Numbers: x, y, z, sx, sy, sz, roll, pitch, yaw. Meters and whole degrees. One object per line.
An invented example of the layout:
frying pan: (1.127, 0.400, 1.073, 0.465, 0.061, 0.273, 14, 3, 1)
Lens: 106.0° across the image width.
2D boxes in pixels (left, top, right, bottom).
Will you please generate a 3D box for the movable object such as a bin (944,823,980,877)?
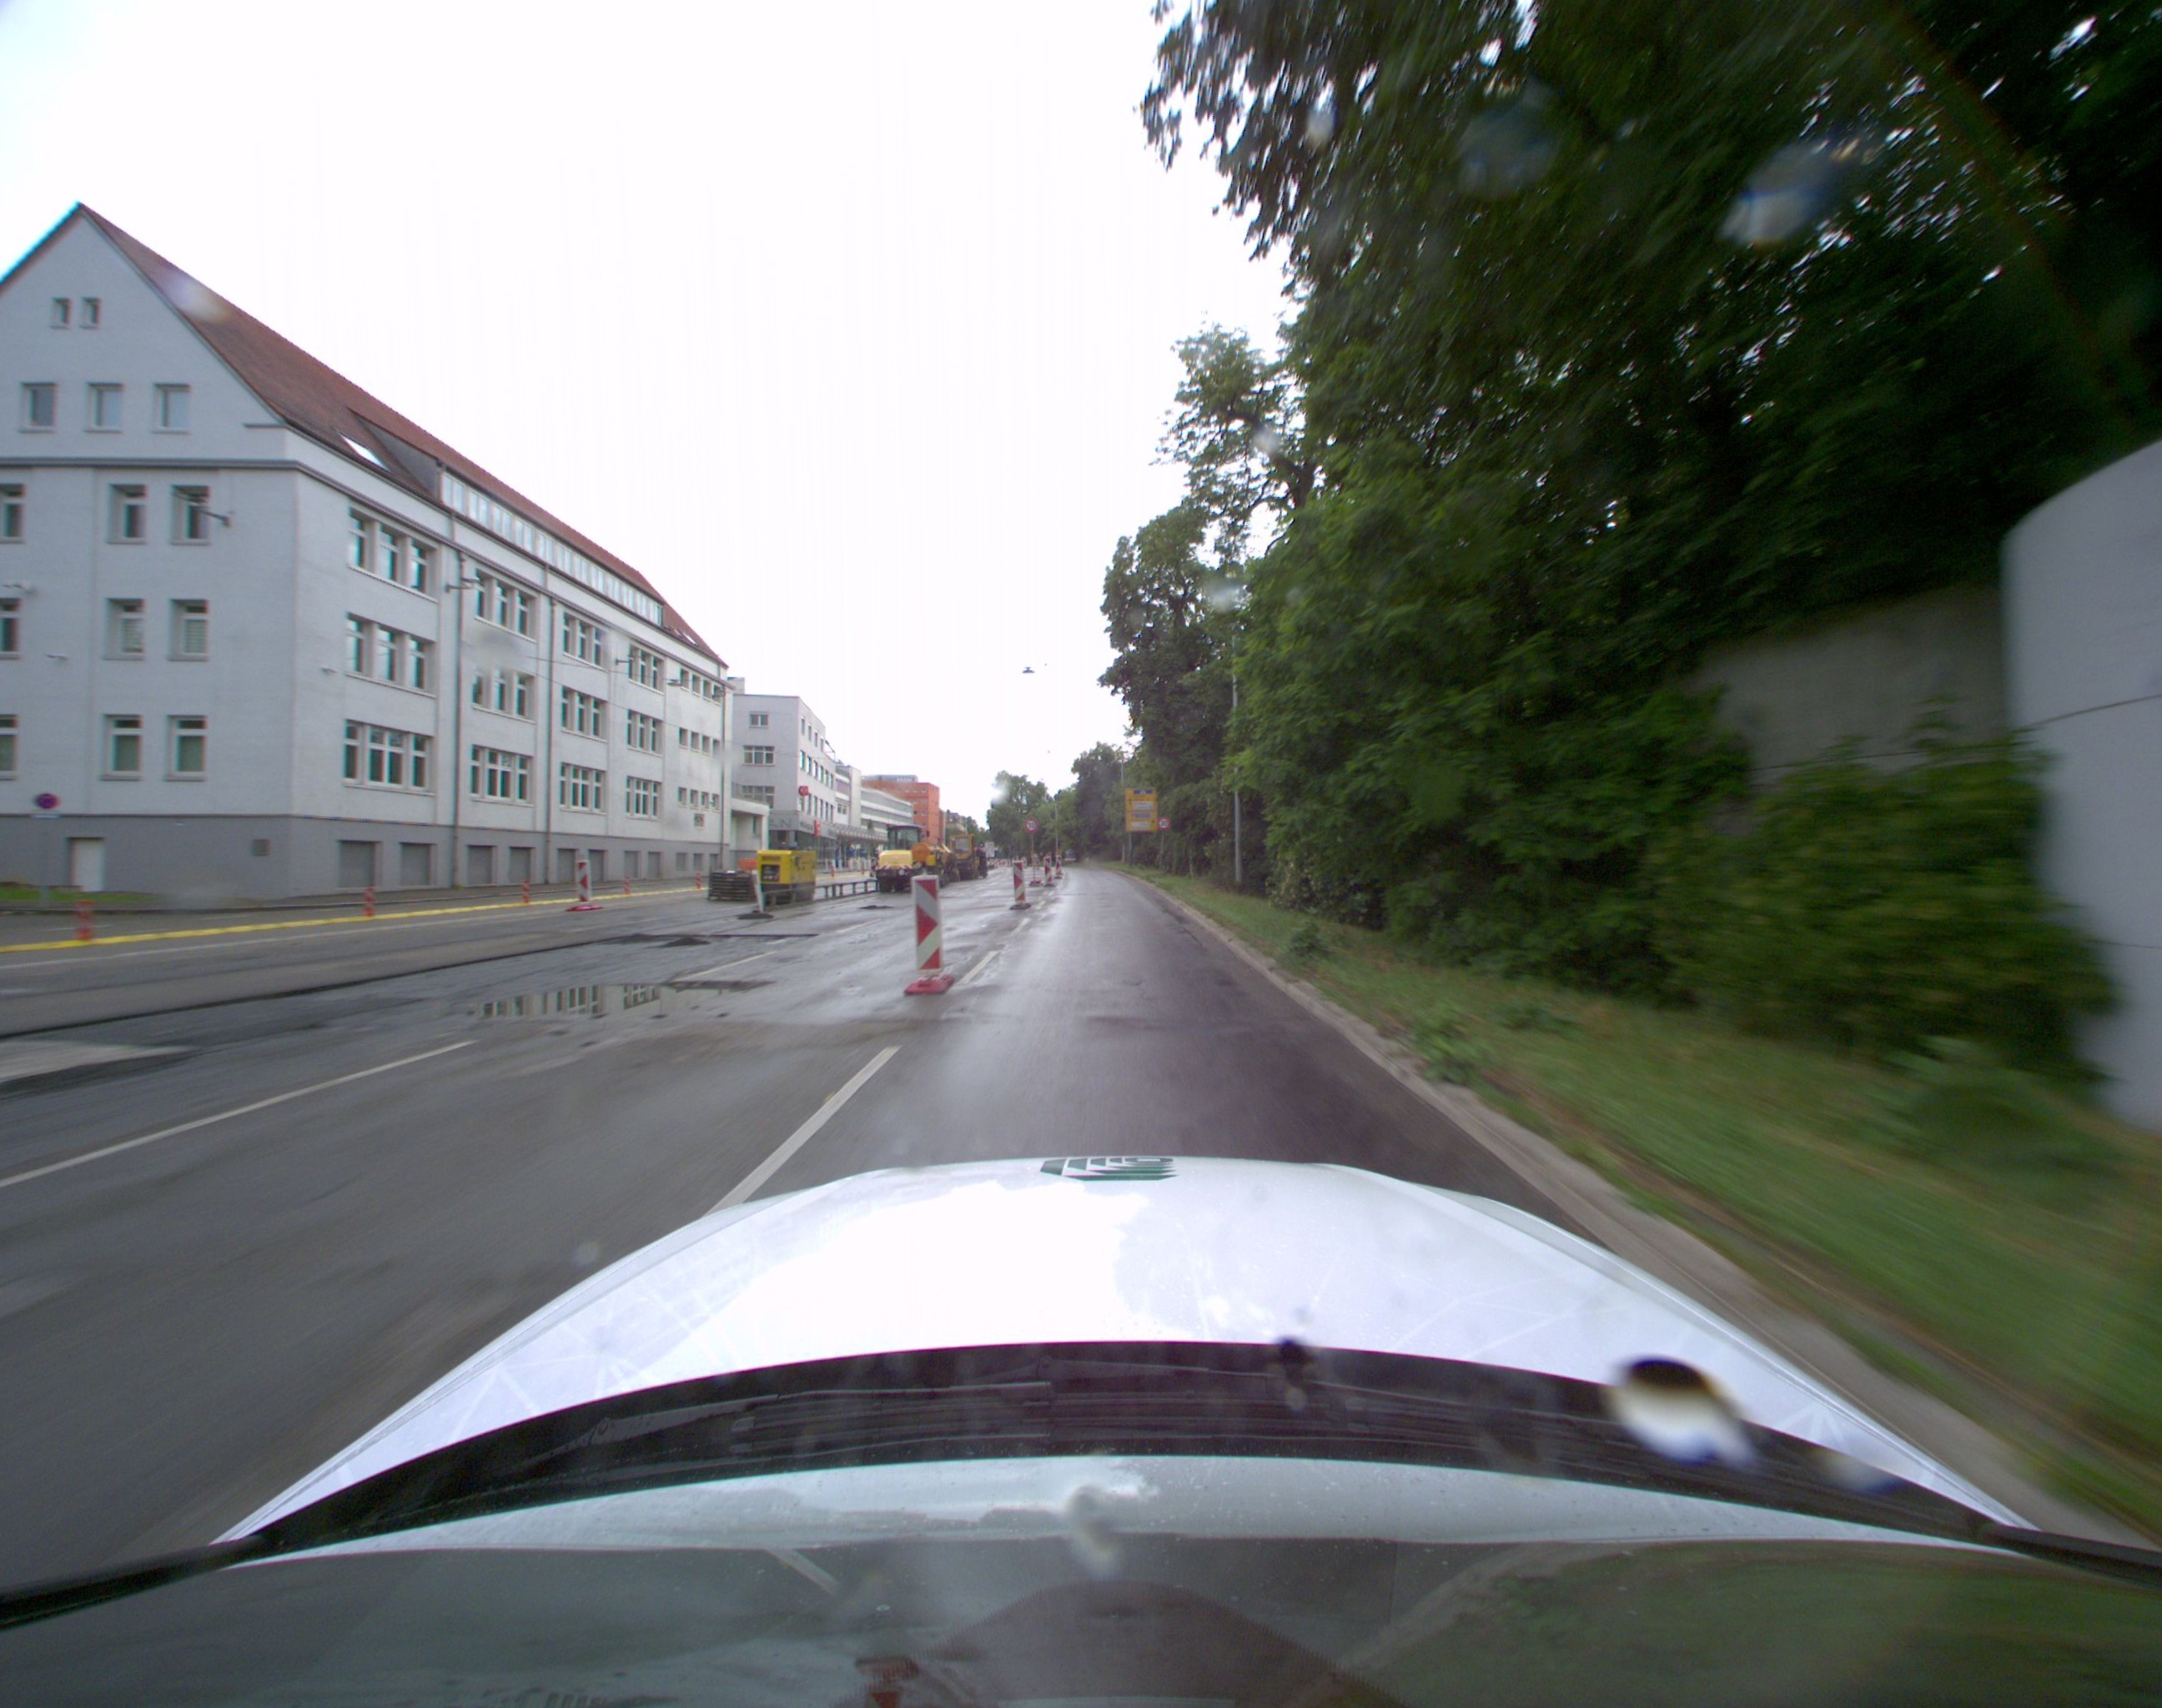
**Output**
movable object such as a bin: (-6.929, -0.243, 47.836, 1.461, 3.008, 3.724, -2, 0, 0)

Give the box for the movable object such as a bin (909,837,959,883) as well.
movable object such as a bin: (-6.975, 0.266, 39.097, 1.357, 2.090, 5.031, 0, 0, 2)

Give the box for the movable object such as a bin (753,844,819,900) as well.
movable object such as a bin: (-9.031, 0.527, 25.059, 1.079, 1.644, 2.439, 0, 0, 1)

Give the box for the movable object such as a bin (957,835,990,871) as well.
movable object such as a bin: (-6.918, -0.067, 52.494, 1.711, 2.150, 3.347, -2, 0, -2)

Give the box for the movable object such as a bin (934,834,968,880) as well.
movable object such as a bin: (-7.084, 0.142, 44.550, 1.407, 2.401, 2.404, -2, 0, -2)

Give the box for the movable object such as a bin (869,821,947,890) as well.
movable object such as a bin: (-6.998, 0.051, 33.593, 1.895, 2.609, 5.385, 0, 0, 2)
